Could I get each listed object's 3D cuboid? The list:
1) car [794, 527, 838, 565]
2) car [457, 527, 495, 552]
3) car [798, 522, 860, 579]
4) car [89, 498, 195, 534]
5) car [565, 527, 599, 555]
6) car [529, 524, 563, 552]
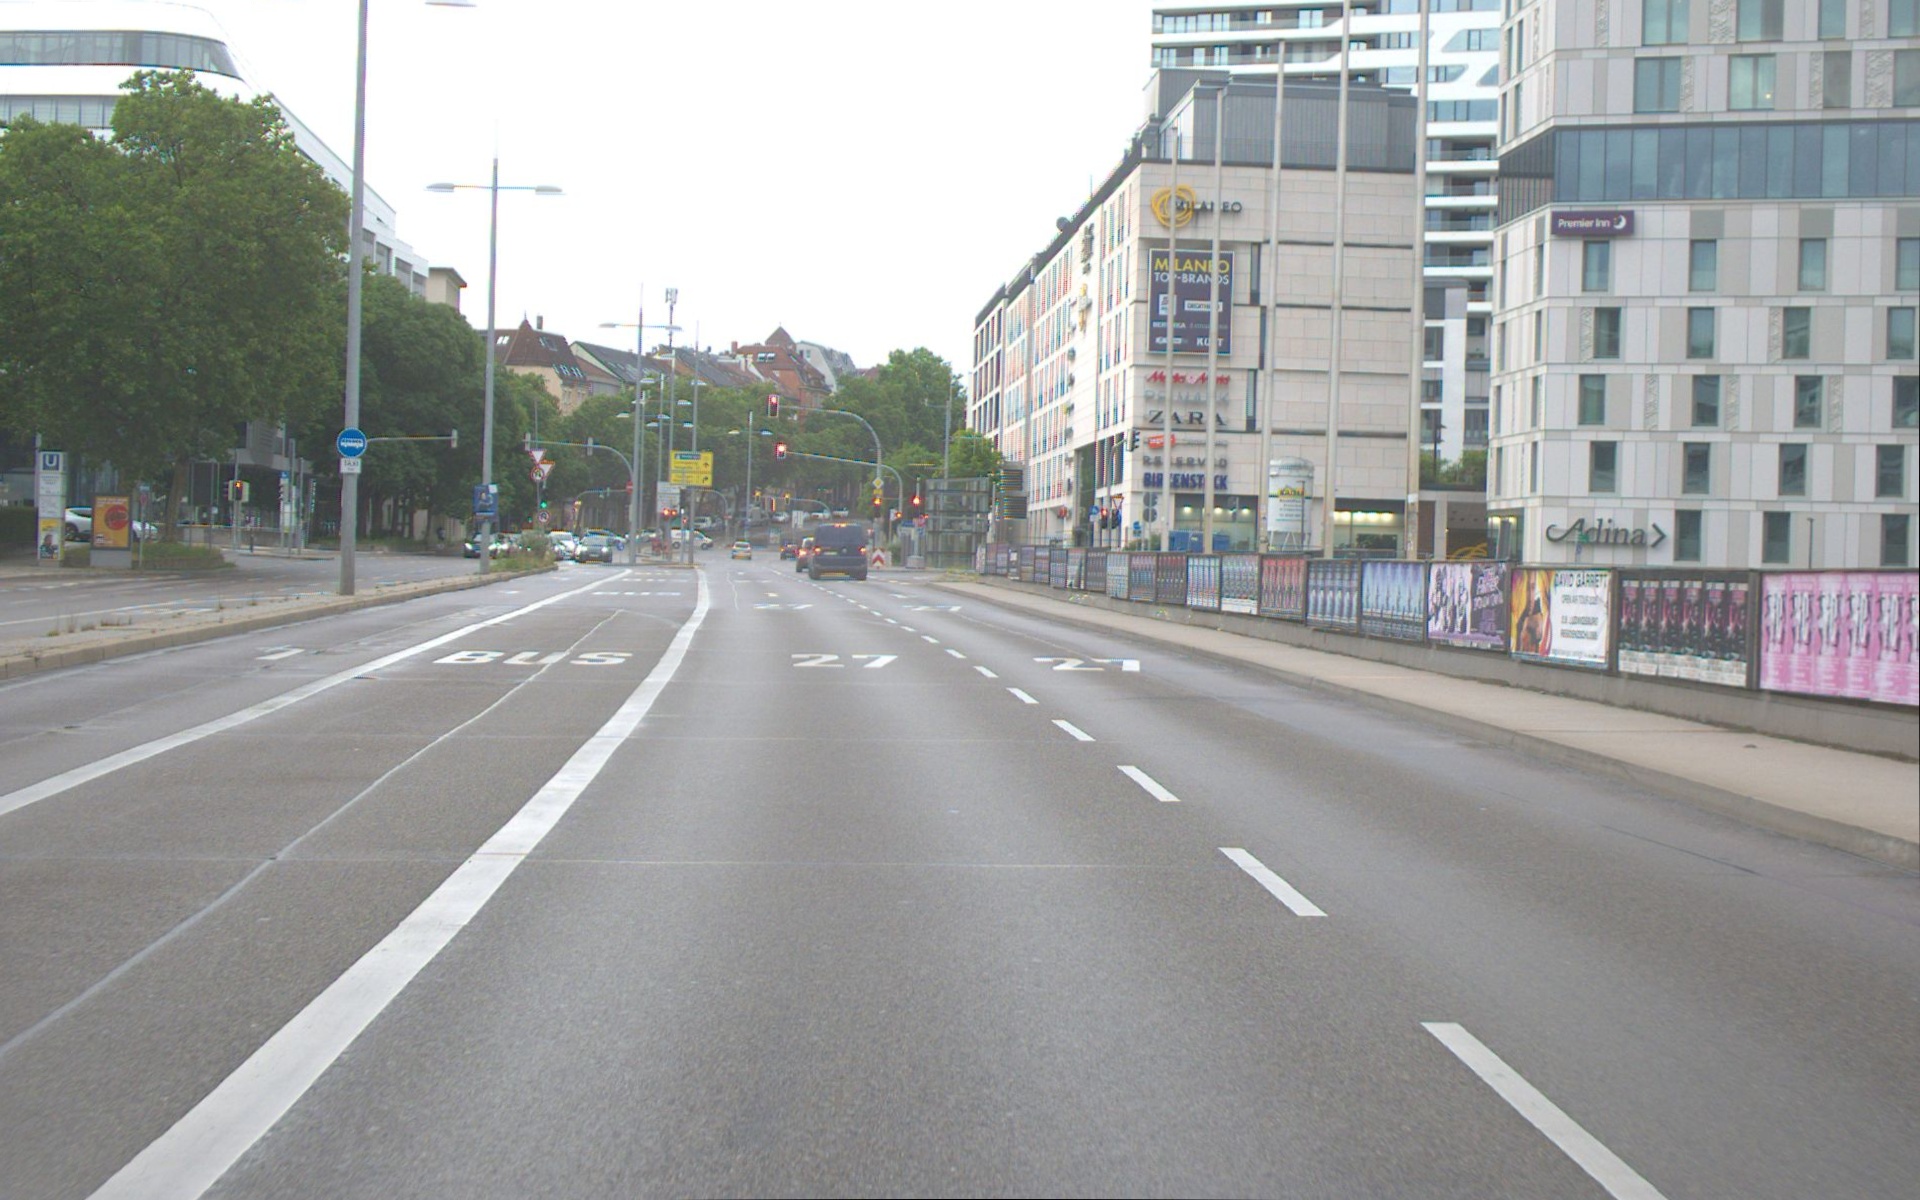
[{"bbox_3d":[-6.161,-2.291,146.726,1.739,1.526,3.814,1,0,-4],"label":"car"},{"bbox_3d":[-27.039,-3.393,192.174,1.743,1.324,4.226,1,0,-4],"label":"car"},{"bbox_3d":[-4.667,-1.766,121.715,2.032,1.875,5.043,-2,2,-3],"label":"car"},{"bbox_3d":[-38.871,-3.979,163.362,4.504,1.625,1.894,1,0,12],"label":"car"},{"bbox_3d":[-21.031,-3.278,191.477,1.743,1.439,3.395,1,0,-4],"label":"car"},{"bbox_3d":[-24.044,-3.587,199.717,1.743,1.553,3.540,1,0,-4],"label":"car"}]
